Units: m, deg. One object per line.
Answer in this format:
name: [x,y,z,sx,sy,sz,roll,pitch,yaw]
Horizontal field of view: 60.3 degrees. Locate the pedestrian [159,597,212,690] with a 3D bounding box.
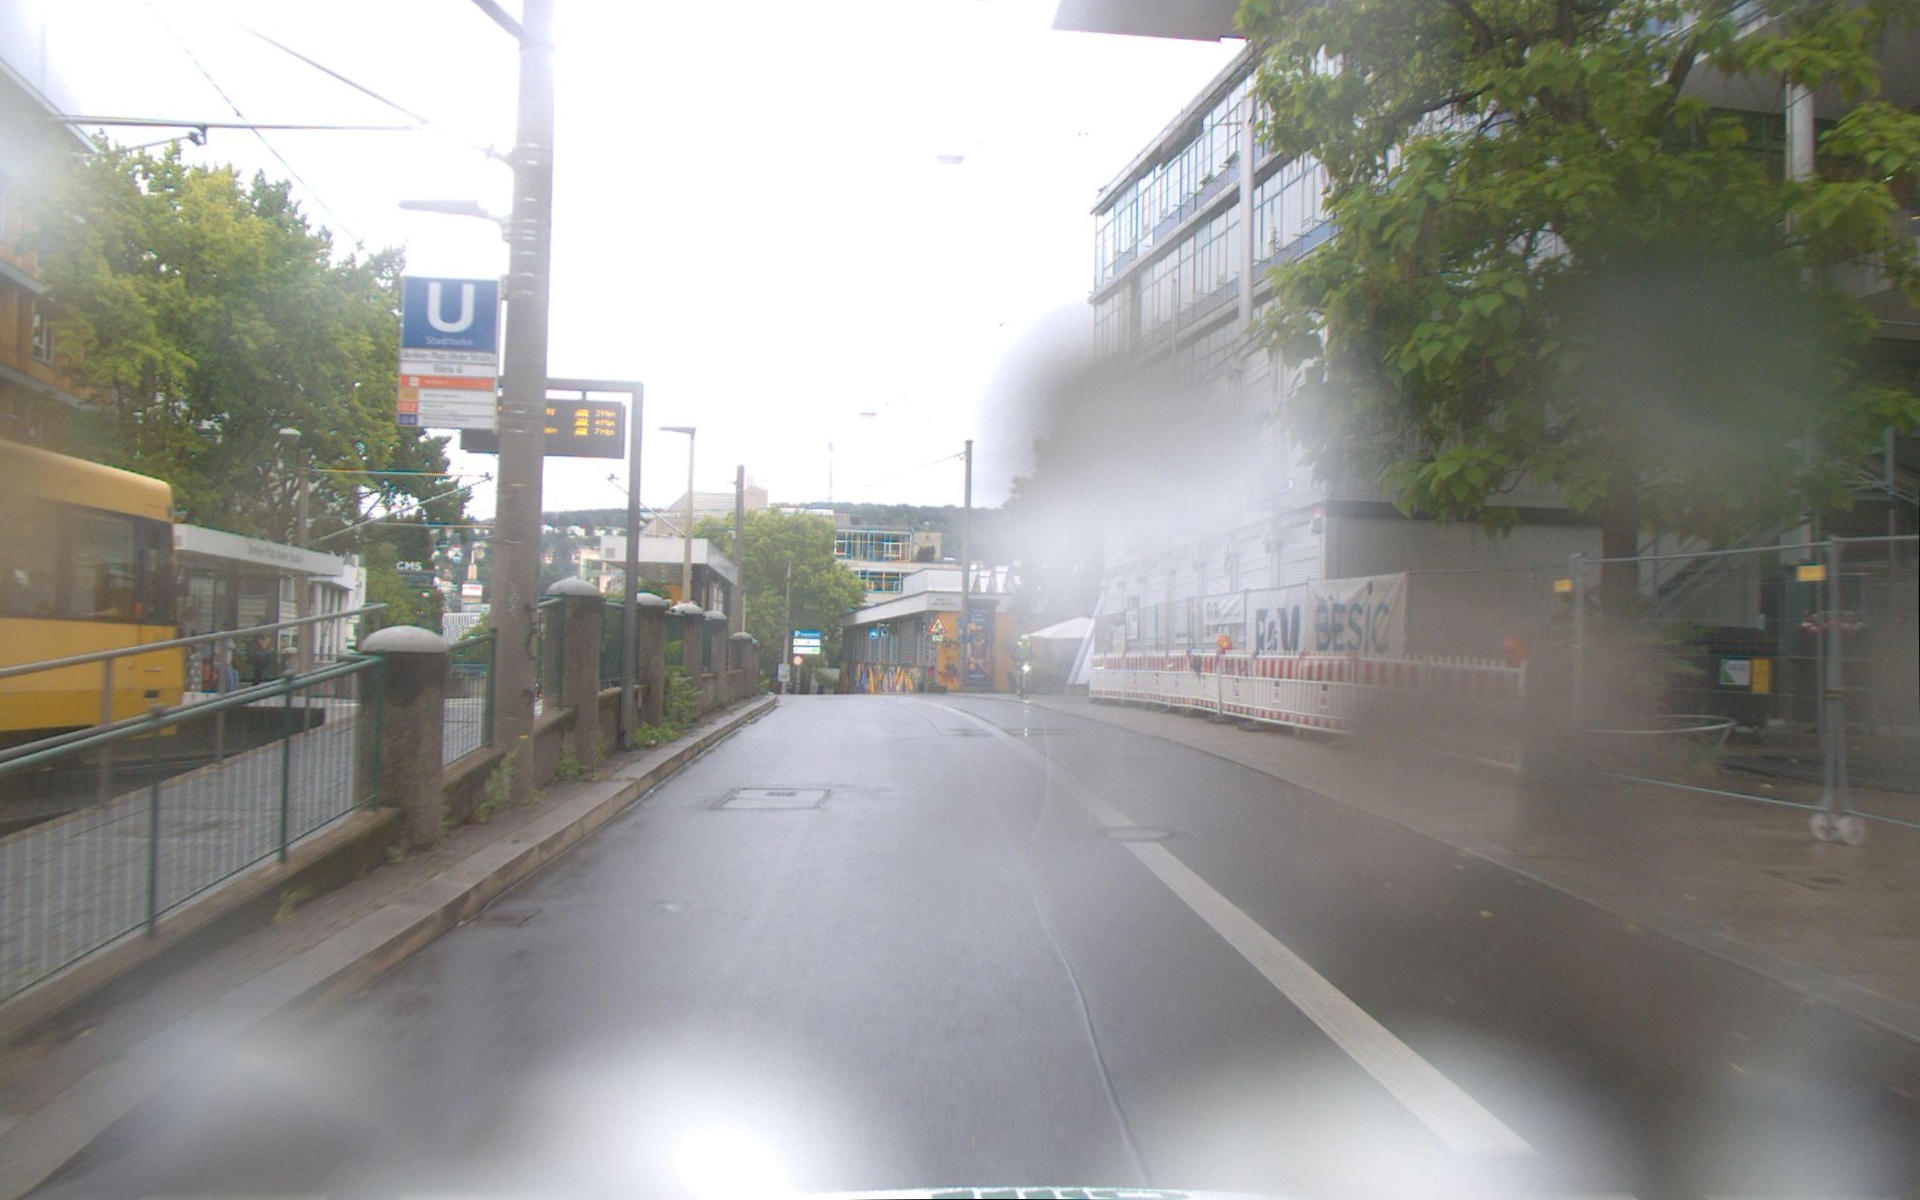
pedestrian: [-14.317,0.801,30.585,0.620,1.689,0.682,1,-2,-1]

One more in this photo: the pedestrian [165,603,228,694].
pedestrian: [-14.869,0.944,32.239,0.756,1.677,0.777,-5,-2,0]

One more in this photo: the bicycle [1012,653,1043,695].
bicycle: [1.803,2.003,44.551,0.648,1.071,2.055,1,-4,-3]

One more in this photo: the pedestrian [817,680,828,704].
pedestrian: [-11.080,7.436,133.132,0.792,1.897,1.053,0,-4,-11]

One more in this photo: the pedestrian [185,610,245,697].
pedestrian: [-15.091,1.085,33.498,0.756,1.677,0.777,-5,-2,0]

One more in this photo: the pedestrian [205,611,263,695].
pedestrian: [-15.109,1.100,34.416,0.756,1.677,0.777,-5,-2,0]

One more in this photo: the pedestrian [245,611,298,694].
pedestrian: [-14.494,1.104,34.843,0.663,1.677,0.895,-4,-2,0]

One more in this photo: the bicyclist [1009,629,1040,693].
bicyclist: [1.736,1.653,44.540,0.649,1.667,0.792,-3,-2,-4]

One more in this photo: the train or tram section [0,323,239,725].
train or tram section: [-10.366,-0.753,15.818,2.722,3.756,9.711,2,0,-1]
